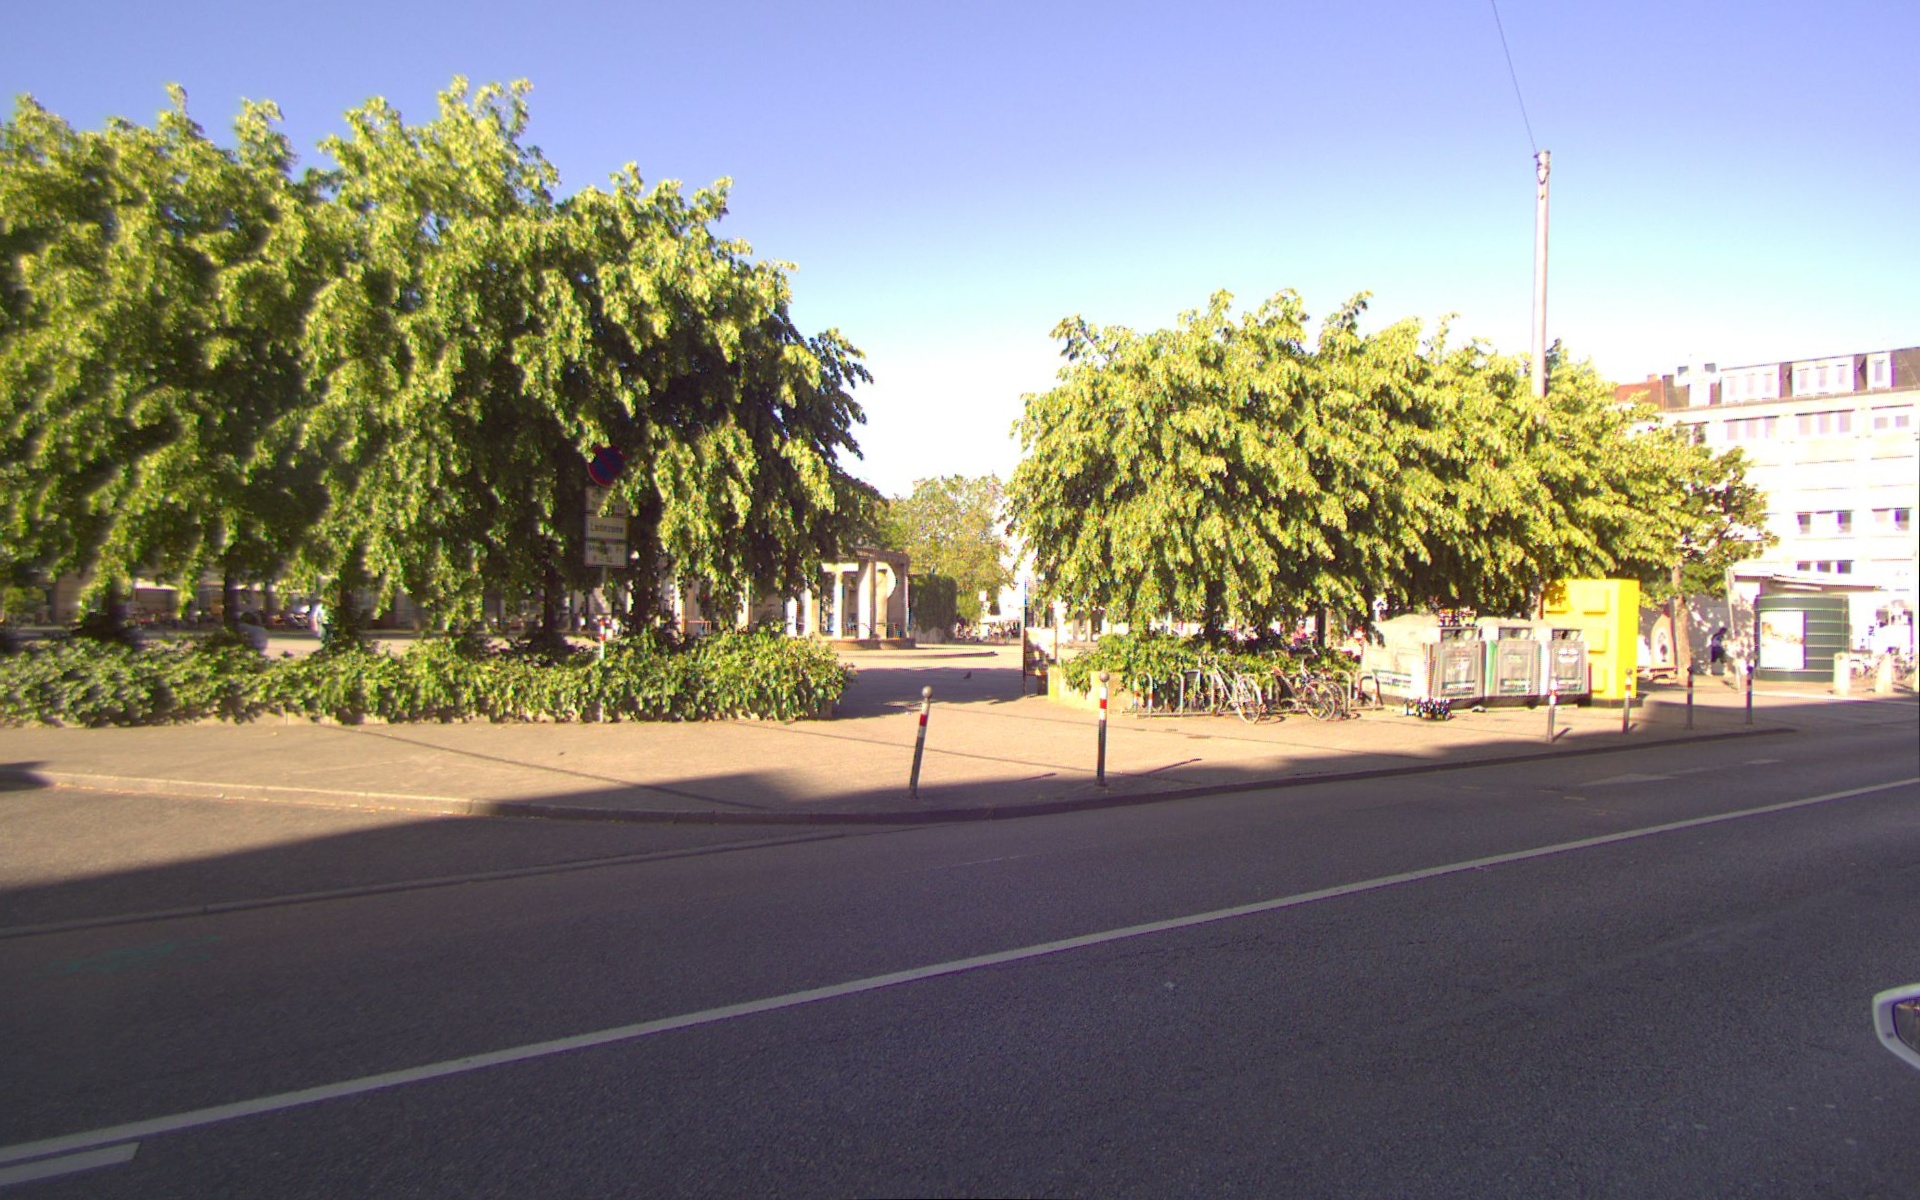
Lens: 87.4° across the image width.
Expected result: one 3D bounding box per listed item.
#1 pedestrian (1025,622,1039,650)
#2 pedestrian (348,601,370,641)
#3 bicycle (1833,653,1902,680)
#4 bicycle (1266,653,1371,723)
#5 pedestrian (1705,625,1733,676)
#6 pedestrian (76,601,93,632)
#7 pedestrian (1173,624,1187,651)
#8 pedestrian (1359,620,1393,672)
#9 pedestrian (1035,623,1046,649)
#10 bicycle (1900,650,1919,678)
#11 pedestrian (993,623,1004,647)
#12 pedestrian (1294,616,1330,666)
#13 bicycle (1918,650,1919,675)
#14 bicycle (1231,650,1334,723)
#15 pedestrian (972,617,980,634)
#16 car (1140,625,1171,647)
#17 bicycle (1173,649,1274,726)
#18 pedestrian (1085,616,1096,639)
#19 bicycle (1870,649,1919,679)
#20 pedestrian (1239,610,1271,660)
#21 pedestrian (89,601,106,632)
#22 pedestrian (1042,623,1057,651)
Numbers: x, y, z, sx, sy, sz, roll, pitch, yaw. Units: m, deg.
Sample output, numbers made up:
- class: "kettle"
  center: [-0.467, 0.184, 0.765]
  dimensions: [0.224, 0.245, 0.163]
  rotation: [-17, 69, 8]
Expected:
- class: "pedestrian"
  center: [5.473, 2.726, 76.009]
  dimensions: [0.860, 2.040, 0.902]
  rotation: [2, 0, -5]
- class: "pedestrian"
  center: [-26.635, 0.916, 44.521]
  dimensions: [0.599, 1.744, 0.644]
  rotation: [2, 0, 37]
- class: "bicycle"
  center: [30.810, 2.248, 34.113]
  dimensions: [0.600, 0.802, 1.634]
  rotation: [2, 0, -33]
- class: "bicycle"
  center: [5.814, 1.406, 16.404]
  dimensions: [0.508, 0.968, 1.898]
  rotation: [2, 0, -20]
- class: "pedestrian"
  center: [26.413, 1.752, 34.954]
  dimensions: [0.700, 1.739, 0.474]
  rotation: [2, 0, -22]
- class: "pedestrian"
  center: [-49.118, 0.922, 56.375]
  dimensions: [0.600, 1.744, 0.643]
  rotation: [2, 0, 45]
- class: "pedestrian"
  center: [14.483, 2.436, 66.125]
  dimensions: [0.741, 1.740, 0.854]
  rotation: [1, -1, 4]
- class: "pedestrian"
  center: [13.988, 1.537, 33.806]
  dimensions: [0.774, 1.720, 0.763]
  rotation: [1, 0, -6]
- class: "pedestrian"
  center: [6.217, 2.764, 77.705]
  dimensions: [0.628, 1.974, 0.676]
  rotation: [2, 0, -7]
- class: "bicycle"
  center: [35.079, 2.335, 36.050]
  dimensions: [0.599, 0.946, 1.854]
  rotation: [2, 0, -30]
- class: "pedestrian"
  center: [3.496, 3.157, 90.495]
  dimensions: [0.860, 2.040, 0.902]
  rotation: [2, 0, -5]
- class: "pedestrian"
  center: [14.949, 1.724, 42.691]
  dimensions: [1.014, 2.040, 1.159]
  rotation: [1, 0, -5]
- class: "bicycle"
  center: [37.085, 2.373, 37.473]
  dimensions: [0.599, 0.946, 1.854]
  rotation: [2, 0, -30]
- class: "bicycle"
  center: [5.198, 1.370, 16.300]
  dimensions: [0.508, 1.016, 1.923]
  rotation: [2, 0, -20]
- class: "pedestrian"
  center: [1.787, 2.864, 113.124]
  dimensions: [0.629, 1.974, 0.675]
  rotation: [2, 0, -14]
- class: "car"
  center: [13.130, 2.413, 67.552]
  dimensions: [1.658, 1.405, 3.575]
  rotation: [1, -1, 5]
- class: "bicycle"
  center: [4.058, 1.331, 15.643]
  dimensions: [0.508, 1.029, 1.930]
  rotation: [2, 0, -19]
- class: "pedestrian"
  center: [12.962, 2.717, 99.595]
  dimensions: [0.860, 2.199, 0.902]
  rotation: [2, 0, -5]
- class: "bicycle"
  center: [33.154, 2.247, 35.136]
  dimensions: [0.599, 0.946, 1.855]
  rotation: [2, 0, -30]
- class: "pedestrian"
  center: [12.103, 1.426, 41.206]
  dimensions: [0.875, 2.040, 0.896]
  rotation: [1, 0, -17]
- class: "pedestrian"
  center: [-48.228, 0.930, 56.143]
  dimensions: [0.600, 1.744, 0.643]
  rotation: [2, 0, 45]
- class: "pedestrian"
  center: [6.686, 2.756, 75.008]
  dimensions: [0.860, 2.040, 0.902]
  rotation: [2, 0, -5]
